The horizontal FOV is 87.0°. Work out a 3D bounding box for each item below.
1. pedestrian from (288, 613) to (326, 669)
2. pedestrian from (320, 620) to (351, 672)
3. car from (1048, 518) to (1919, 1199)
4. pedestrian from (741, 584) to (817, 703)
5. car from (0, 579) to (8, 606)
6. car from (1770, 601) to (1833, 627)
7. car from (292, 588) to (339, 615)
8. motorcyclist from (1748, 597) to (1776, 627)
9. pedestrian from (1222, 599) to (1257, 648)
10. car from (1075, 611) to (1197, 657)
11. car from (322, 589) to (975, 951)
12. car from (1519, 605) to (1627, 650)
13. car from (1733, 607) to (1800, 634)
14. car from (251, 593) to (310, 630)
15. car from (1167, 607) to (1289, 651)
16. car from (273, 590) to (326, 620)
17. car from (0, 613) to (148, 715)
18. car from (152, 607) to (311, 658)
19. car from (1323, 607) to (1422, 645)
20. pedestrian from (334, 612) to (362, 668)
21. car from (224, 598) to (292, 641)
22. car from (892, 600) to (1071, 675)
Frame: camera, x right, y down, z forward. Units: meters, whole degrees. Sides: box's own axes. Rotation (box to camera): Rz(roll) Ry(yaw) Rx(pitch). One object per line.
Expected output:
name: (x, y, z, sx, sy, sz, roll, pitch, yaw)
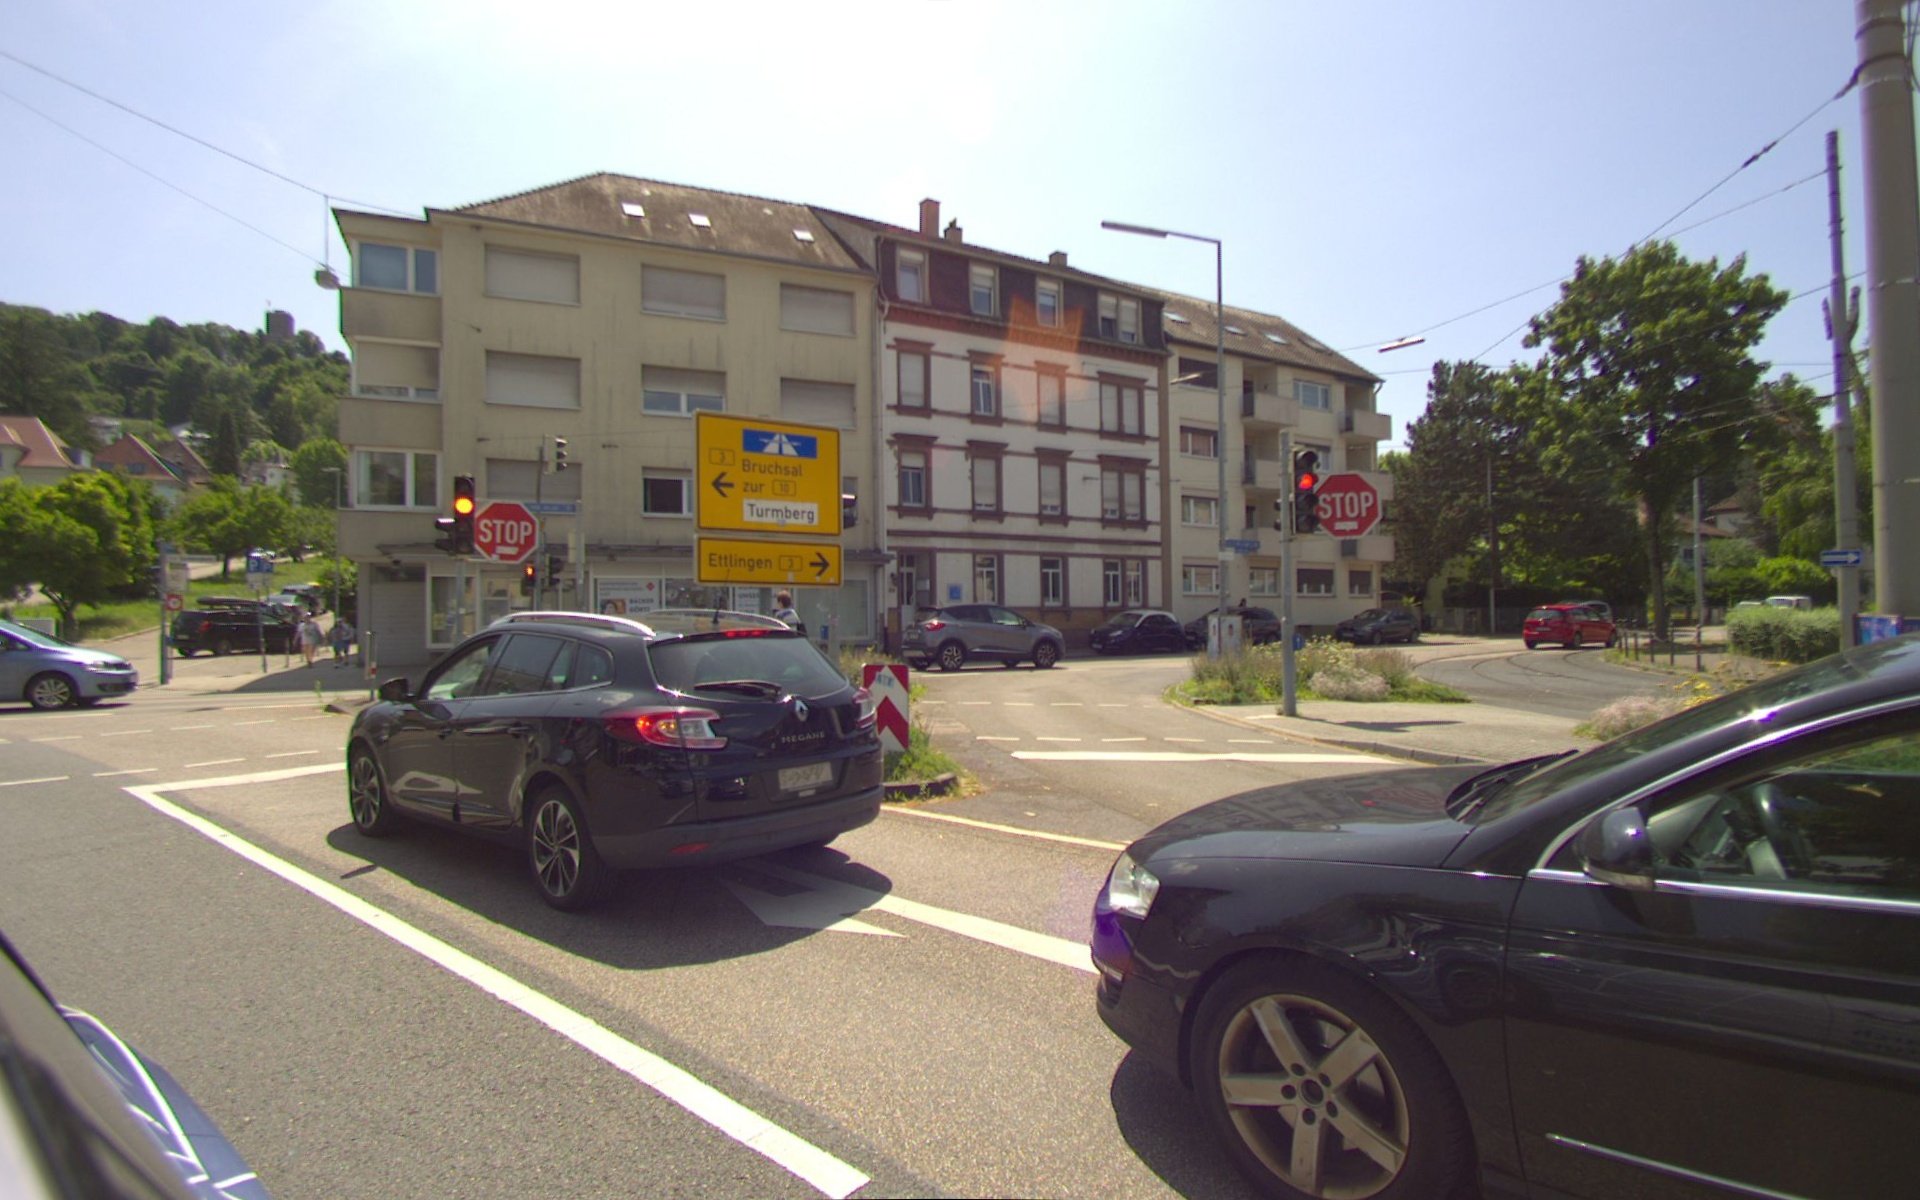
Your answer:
pedestrian: (-19.643, 1.236, 30.453, 0.808, 1.645, 0.807, 0, -1, -21)
pedestrian: (-17.980, 1.313, 29.150, 0.637, 1.487, 0.690, 0, -1, -21)
car: (2.559, 0.629, 2.007, 4.512, 1.531, 1.971, -2, -1, 43)
pedestrian: (-2.706, 0.637, 15.139, 0.838, 1.718, 0.752, -2, -2, 41)
car: (-54.049, -0.372, 55.469, 1.728, 1.458, 3.752, -1, 3, -28)
car: (55.531, 0.891, 66.752, 3.968, 1.569, 1.811, 0, 2, -28)
car: (-37.662, 0.065, 59.220, 1.778, 1.431, 4.014, 0, 3, -25)
motorcyclist: (39.194, 0.581, 49.474, 1.001, 1.456, 0.715, 0, -1, -28)
pedestrian: (11.282, 0.957, 40.820, 0.960, 1.946, 0.940, 0, -2, -34)
car: (6.172, 1.152, 35.328, 3.934, 1.530, 2.005, 1, -1, -35)
car: (-2.223, 0.762, 6.454, 4.424, 1.511, 1.973, -2, -1, 41)
car: (22.567, 0.978, 37.244, 3.969, 1.569, 1.810, 0, -1, -33)
car: (50.160, 1.248, 62.919, 3.968, 1.569, 1.811, 0, 2, -28)
car: (-32.961, 0.520, 49.203, 1.778, 1.562, 4.014, 0, 3, -25)
car: (9.953, 1.051, 37.576, 4.308, 1.521, 2.005, 0, -2, -33)
car: (-35.079, 0.241, 53.821, 1.778, 1.398, 4.014, 0, 3, -25)
car: (-15.833, 1.026, 16.341, 3.930, 1.580, 1.766, 0, -1, -25)
car: (-25.690, 1.133, 35.879, 1.982, 1.676, 4.307, -1, -1, 16)
car: (17.360, 1.067, 42.540, 3.933, 1.521, 2.005, 0, -2, -35)
pedestrian: (-18.466, 1.203, 30.546, 0.637, 1.645, 0.690, 0, -1, -21)
car: (-30.805, 0.827, 44.519, 1.778, 1.628, 4.014, 0, 3, -25)
car: (0.531, 0.837, 24.215, 3.931, 1.644, 1.765, 0, -1, -29)
